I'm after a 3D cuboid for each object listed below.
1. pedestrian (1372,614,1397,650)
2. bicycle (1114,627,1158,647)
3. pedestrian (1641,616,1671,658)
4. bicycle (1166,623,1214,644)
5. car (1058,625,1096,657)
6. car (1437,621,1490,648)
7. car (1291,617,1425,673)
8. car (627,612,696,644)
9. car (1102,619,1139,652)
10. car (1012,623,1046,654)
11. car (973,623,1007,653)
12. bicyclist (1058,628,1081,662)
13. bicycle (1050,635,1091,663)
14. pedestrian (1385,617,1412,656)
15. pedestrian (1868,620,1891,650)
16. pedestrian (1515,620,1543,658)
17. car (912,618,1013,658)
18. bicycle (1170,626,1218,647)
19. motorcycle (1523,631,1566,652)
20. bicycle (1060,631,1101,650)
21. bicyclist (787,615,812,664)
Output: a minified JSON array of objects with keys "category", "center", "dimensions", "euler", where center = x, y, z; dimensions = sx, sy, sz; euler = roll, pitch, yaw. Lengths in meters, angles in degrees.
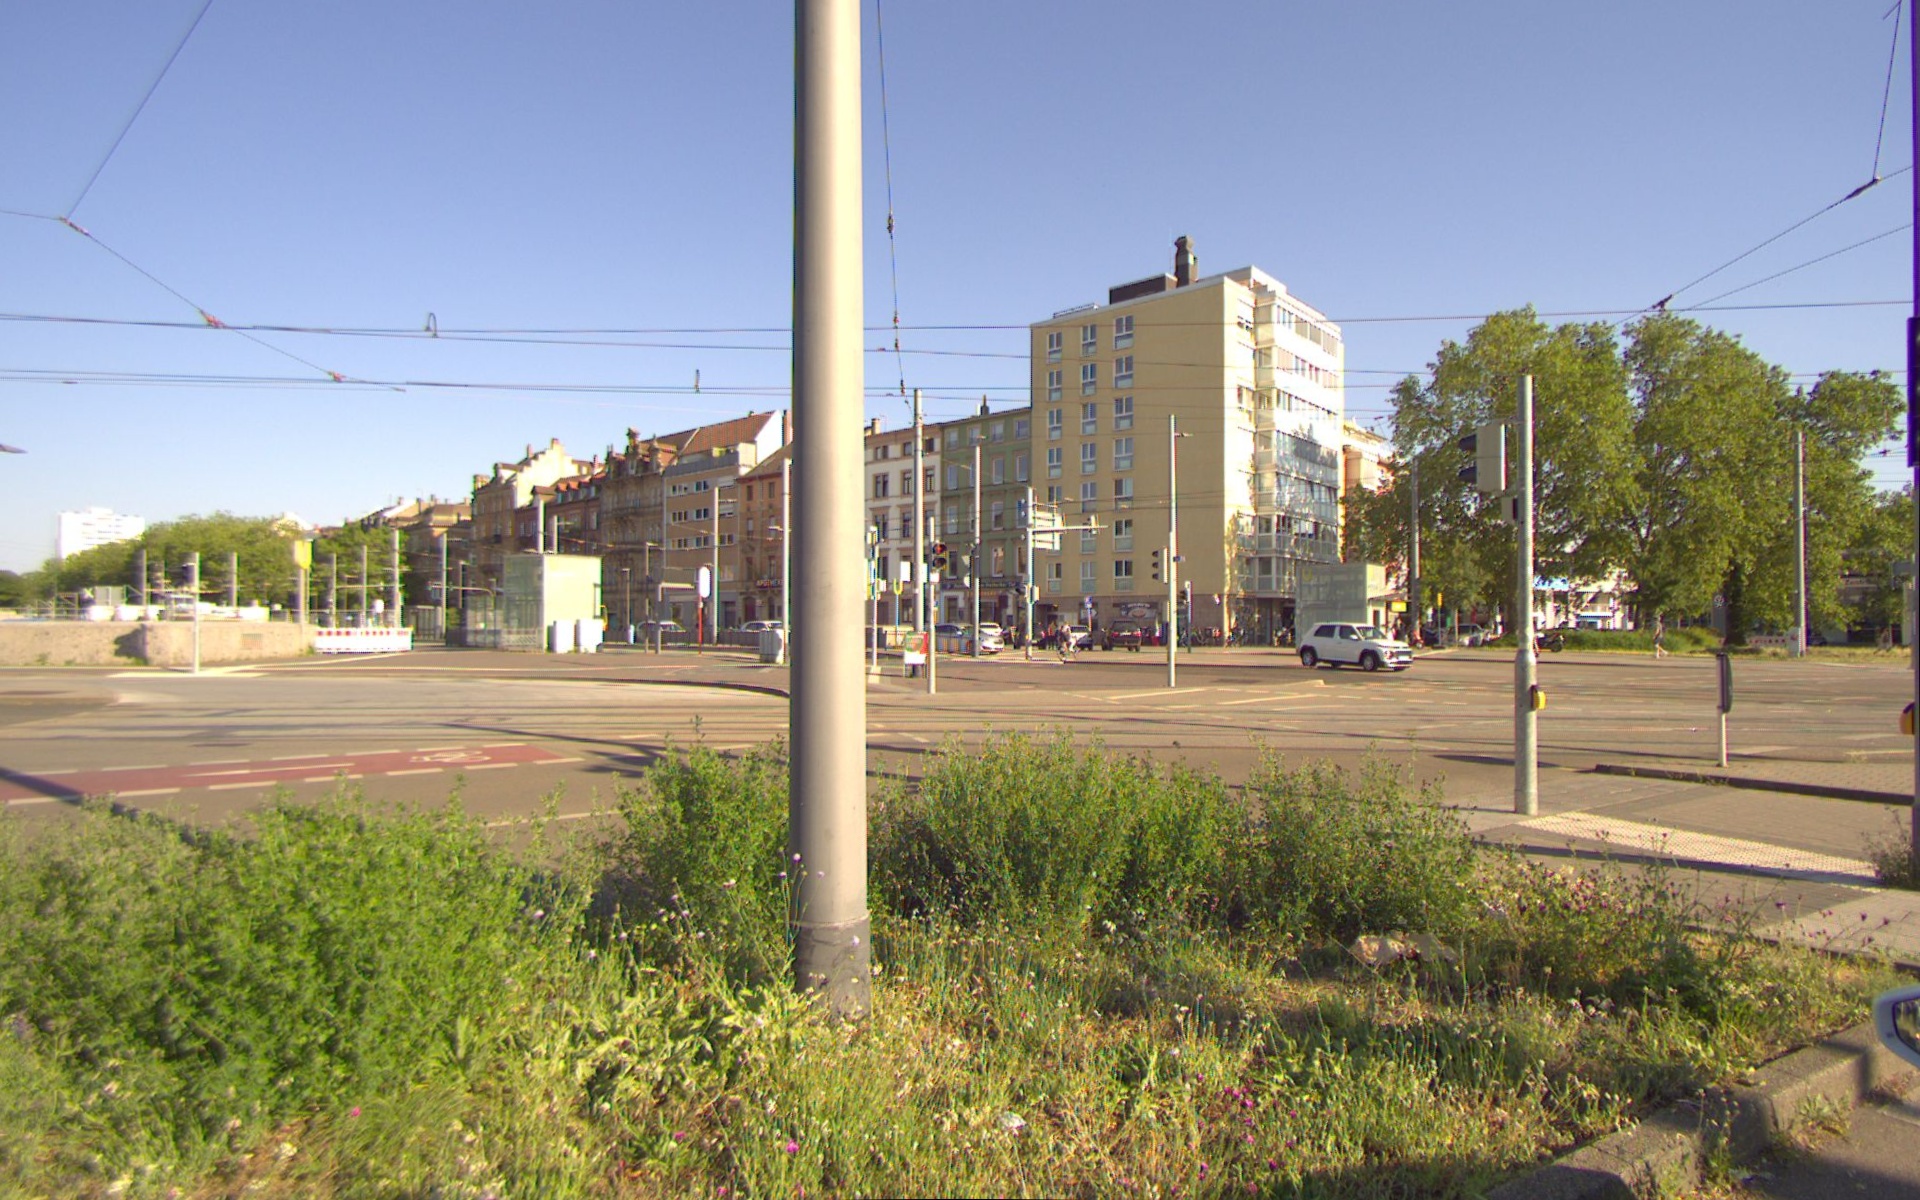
[{"category":"pedestrian","center":[20.865,1.592,49.336],"dimensions":[0.747,1.728,0.793],"euler":[2,0,-22]},{"category":"bicycle","center":[11.562,2.403,66.158],"dimensions":[3.003,1.167,0.637],"euler":[1,0,44]},{"category":"pedestrian","center":[31.898,1.695,46.026],"dimensions":[0.747,1.911,0.793],"euler":[2,0,-22]},{"category":"bicycle","center":[14.472,2.108,63.217],"dimensions":[3.003,1.167,0.637],"euler":[1,0,44]},{"category":"car","center":[6.843,2.387,59.255],"dimensions":[1.960,1.728,4.001],"euler":[2,0,4]},{"category":"car","center":[32.018,2.206,63.819],"dimensions":[3.973,1.588,1.753],"euler":[2,0,-44]},{"category":"car","center":[13.469,1.482,34.201],"dimensions":[1.766,1.684,3.966],"euler":[2,0,-31]},{"category":"car","center":[-19.432,1.786,65.388],"dimensions":[4.837,1.849,1.990],"euler":[2,0,41]},{"category":"car","center":[9.129,1.982,57.416],"dimensions":[1.684,1.728,4.001],"euler":[2,0,4]},{"category":"car","center":[4.183,2.318,61.487],"dimensions":[1.960,1.728,4.001],"euler":[2,0,4]},{"category":"car","center":[1.955,2.397,63.983],"dimensions":[1.960,1.728,4.001],"euler":[2,0,4]},{"category":"bicyclist","center":[4.438,1.824,40.741],"dimensions":[0.617,1.368,0.658],"euler":[2,0,44]},{"category":"bicycle","center":[4.511,1.971,40.839],"dimensions":[0.617,1.104,1.914],"euler":[2,0,44]},{"category":"pedestrian","center":[19.599,1.628,44.876],"dimensions":[0.747,1.728,0.793],"euler":[2,0,-22]},{"category":"pedestrian","center":[53.606,2.044,58.576],"dimensions":[0.491,1.716,0.852],"euler":[2,0,-32]},{"category":"pedestrian","center":[26.589,1.801,46.953],"dimensions":[0.747,1.728,0.793],"euler":[2,0,-22]},{"category":"car","center":[0.098,1.765,47.874],"dimensions":[4.644,1.684,1.780],"euler":[2,0,36]},{"category":"bicycle","center":[14.847,2.315,63.786],"dimensions":[3.003,1.167,0.637],"euler":[1,0,44]},{"category":"motorcycle","center":[29.153,2.061,50.118],"dimensions":[1.753,0.926,0.676],"euler":[2,0,41]},{"category":"bicycle","center":[8.247,2.767,68.961],"dimensions":[3.003,1.167,0.637],"euler":[1,0,44]},{"category":"bicyclist","center":[-5.667,1.379,35.424],"dimensions":[0.653,1.706,0.980],"euler":[2,0,2]}]
